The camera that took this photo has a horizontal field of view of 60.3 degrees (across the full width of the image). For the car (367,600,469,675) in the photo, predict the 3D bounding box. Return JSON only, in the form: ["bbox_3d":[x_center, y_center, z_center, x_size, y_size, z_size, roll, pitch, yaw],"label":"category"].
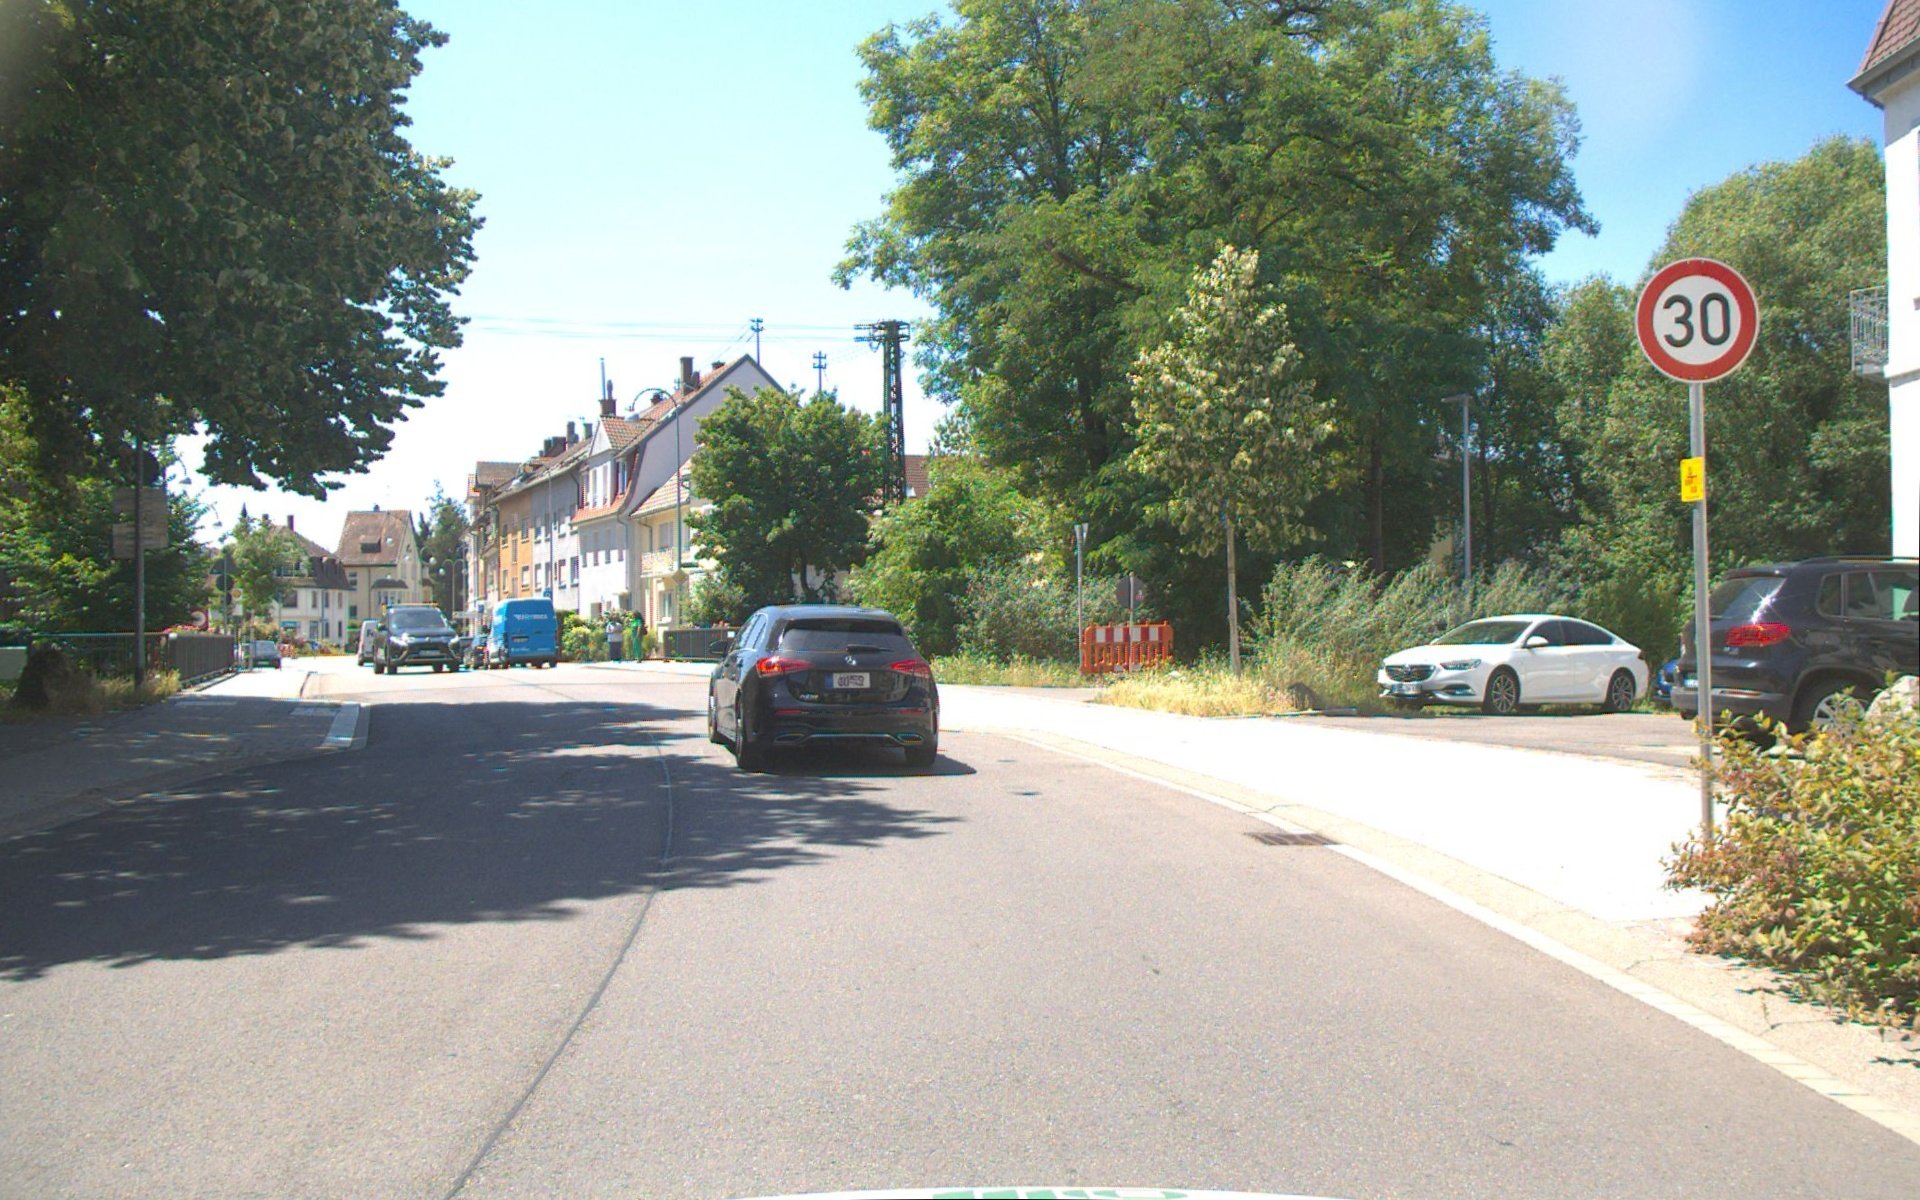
[{"bbox_3d":[-14.166,0.951,43.103,1.722,1.803,4.295,-2,0,-29],"label":"car"}]

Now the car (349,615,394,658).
[{"bbox_3d":[-34.200,2.087,96.039,2.214,2.384,4.819,0,0,-23],"label":"car"}]

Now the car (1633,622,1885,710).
[{"bbox_3d":[13.412,1.112,27.713,4.146,1.374,1.841,1,-3,-31],"label":"car"}]

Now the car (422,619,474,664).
[{"bbox_3d":[-24.279,1.928,78.339,1.967,2.049,3.971,0,0,-23],"label":"car"}]

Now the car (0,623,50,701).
[{"bbox_3d":[-26.709,1.695,46.199,1.968,2.049,3.969,0,0,-25],"label":"car"}]

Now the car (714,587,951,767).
[{"bbox_3d":[-1.347,0.738,15.803,1.795,1.467,3.988,-1,-3,-11],"label":"car"}]

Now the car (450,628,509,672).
[{"bbox_3d":[-20.696,2.122,71.141,1.967,1.776,4.298,0,0,-23],"label":"car"}]

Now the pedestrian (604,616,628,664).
[{"bbox_3d":[-12.015,1.403,57.791,0.607,1.641,0.830,0,-1,-27],"label":"pedestrian"}]

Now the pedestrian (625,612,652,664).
[{"bbox_3d":[-11.081,1.301,57.047,0.656,1.772,0.692,0,-2,-40],"label":"pedestrian"}]

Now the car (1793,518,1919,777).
[{"bbox_3d":[8.493,0.359,11.989,3.991,1.746,1.856,1,-1,1],"label":"car"}]

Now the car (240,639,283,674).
[{"bbox_3d":[-35.913,2.883,85.085,1.966,1.689,3.972,2,-2,-22],"label":"car"}]

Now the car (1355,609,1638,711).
[{"bbox_3d":[7.891,0.861,24.206,4.153,1.374,1.838,2,-1,-35],"label":"car"}]

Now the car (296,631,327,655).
[{"bbox_3d":[-47.396,3.122,120.817,1.966,1.689,3.972,2,-2,-22],"label":"car"}]

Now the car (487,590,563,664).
[{"bbox_3d":[-15.909,1.000,60.358,2.103,2.586,4.617,0,-1,-22],"label":"car"}]

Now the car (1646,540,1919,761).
[{"bbox_3d":[8.238,0.435,14.143,3.991,1.746,1.856,1,-1,1],"label":"car"}]
